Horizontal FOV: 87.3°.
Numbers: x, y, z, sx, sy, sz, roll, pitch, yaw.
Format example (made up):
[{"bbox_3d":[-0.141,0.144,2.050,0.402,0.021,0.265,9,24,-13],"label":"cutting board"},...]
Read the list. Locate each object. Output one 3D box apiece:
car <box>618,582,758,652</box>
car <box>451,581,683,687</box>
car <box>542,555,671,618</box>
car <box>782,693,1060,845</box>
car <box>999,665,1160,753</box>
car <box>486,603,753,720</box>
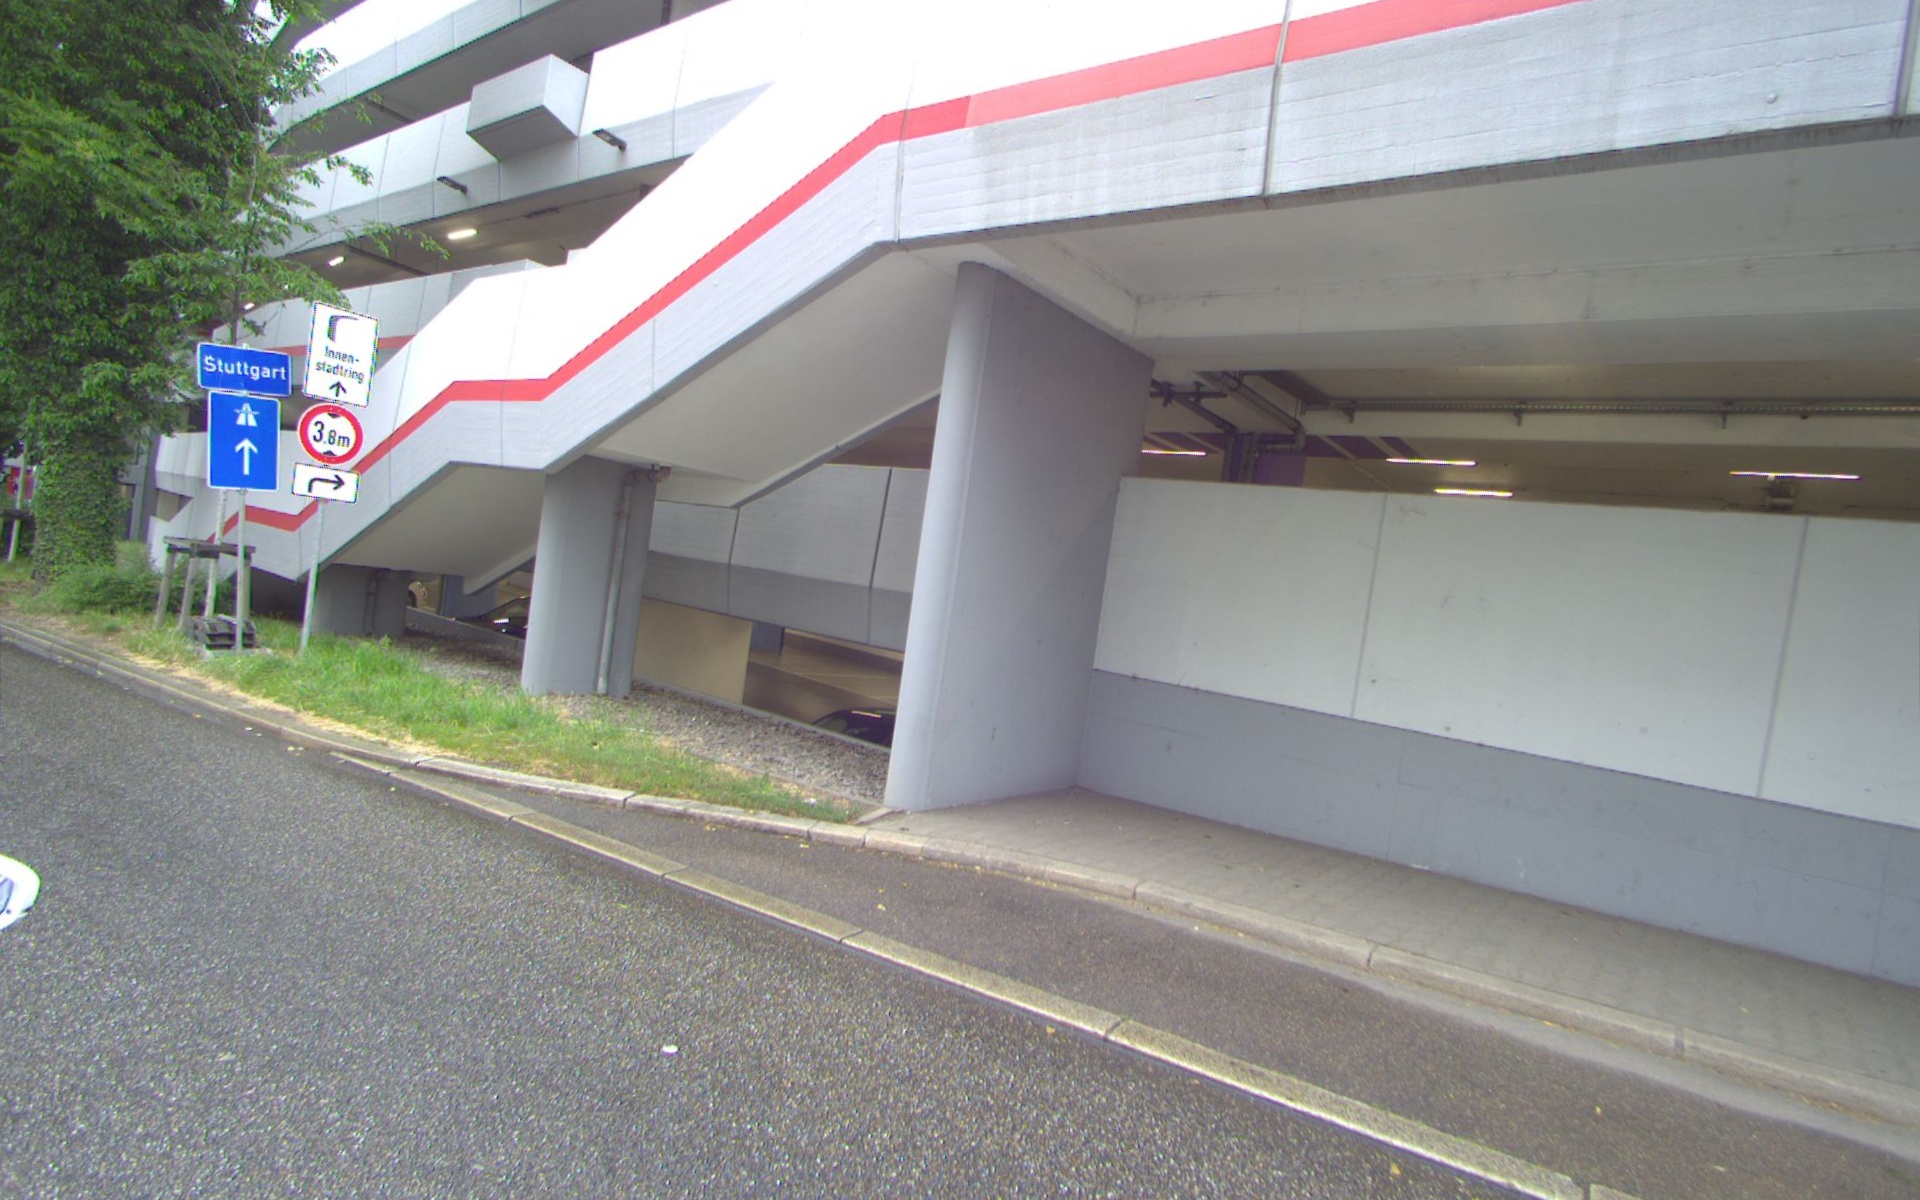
[{"bbox_3d":[-8.912,0.591,33.183,1.792,1.804,3.979,7,0,44],"label":"car"},{"bbox_3d":[-7.630,0.724,19.799,1.782,1.559,3.734,11,2,37],"label":"car"},{"bbox_3d":[-13.064,-0.470,37.309,1.792,1.804,3.979,7,0,44],"label":"car"},{"bbox_3d":[-0.437,2.353,14.715,1.810,1.559,3.931,11,2,37],"label":"car"},{"bbox_3d":[2.894,2.558,23.694,1.810,1.559,3.988,11,2,37],"label":"car"},{"bbox_3d":[-5.825,1.131,17.616,1.810,1.643,3.988,7,-1,36],"label":"car"}]
